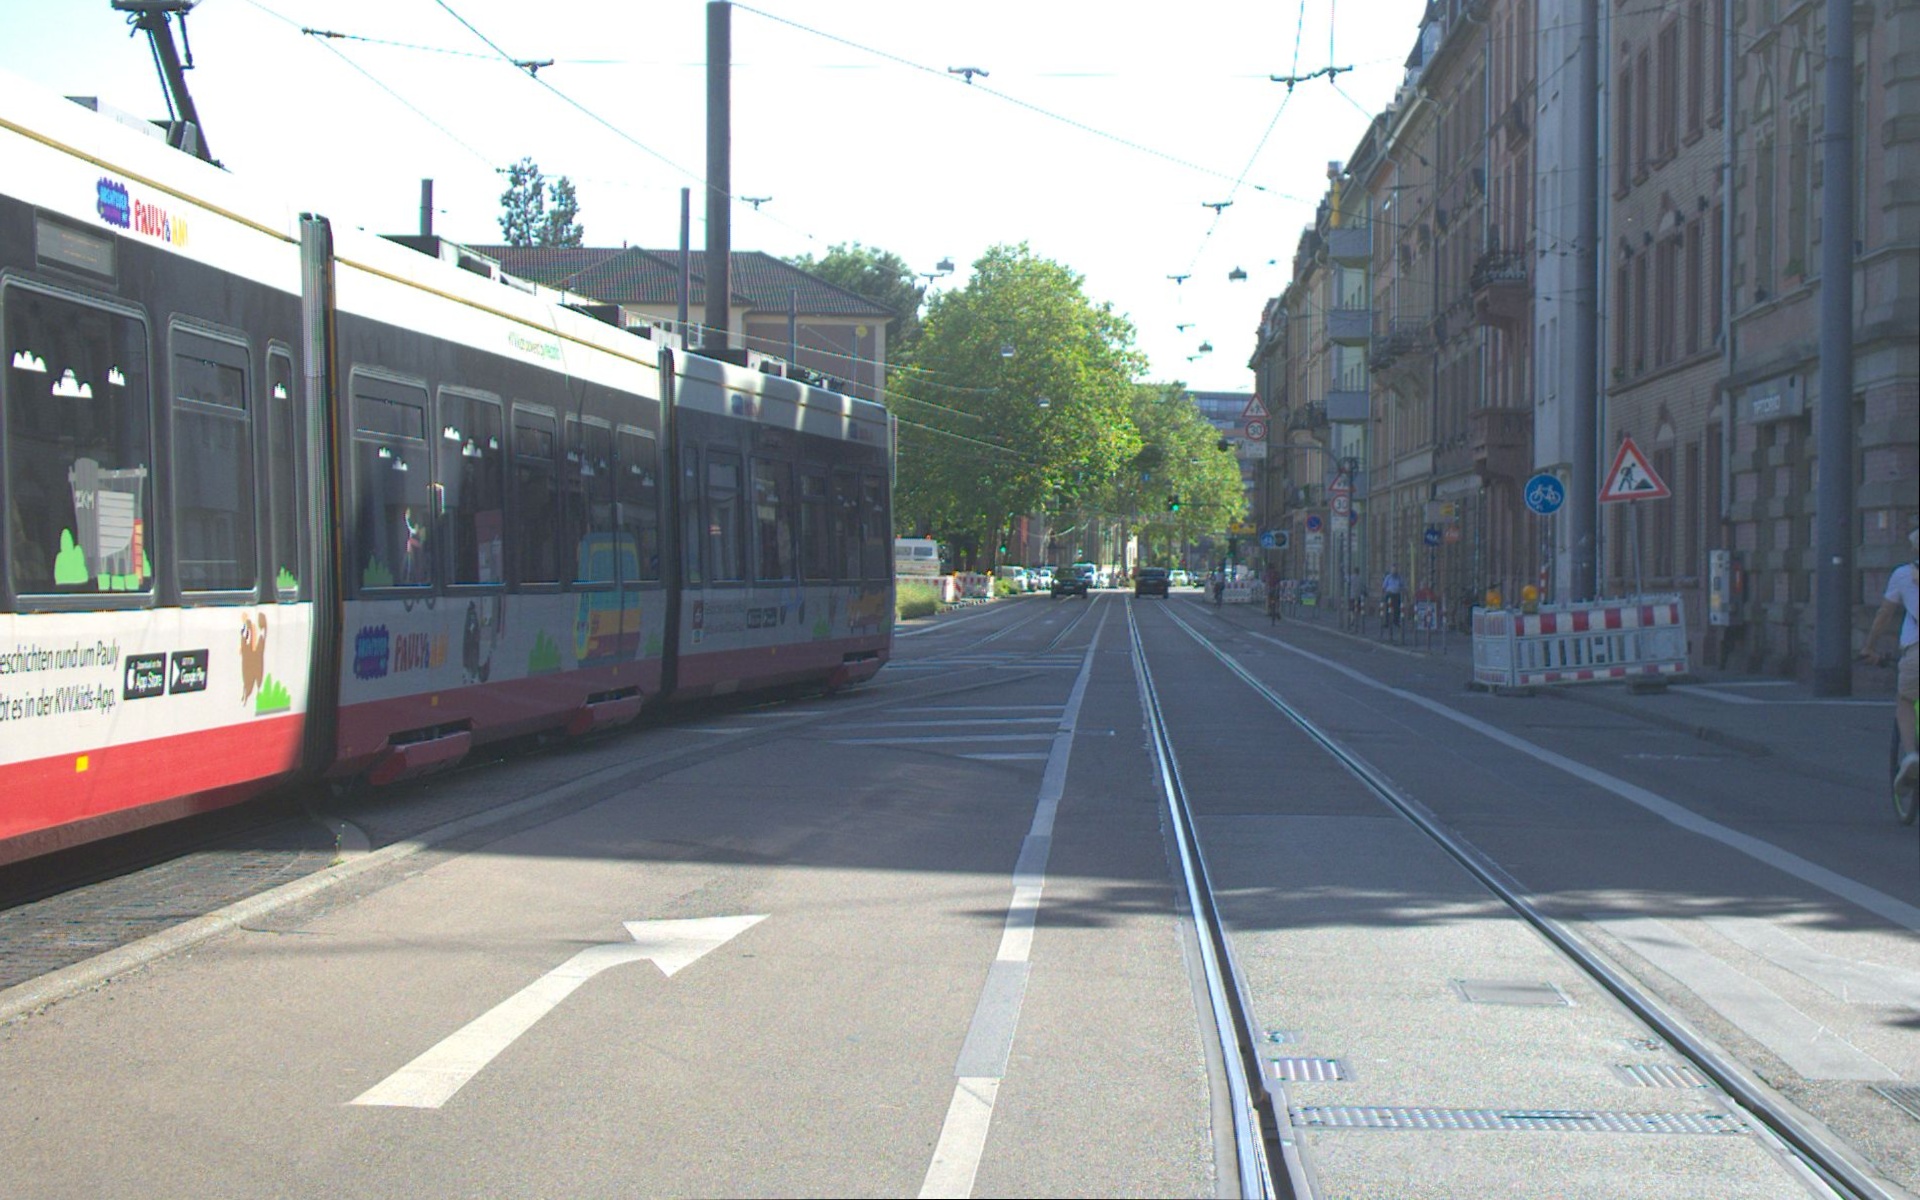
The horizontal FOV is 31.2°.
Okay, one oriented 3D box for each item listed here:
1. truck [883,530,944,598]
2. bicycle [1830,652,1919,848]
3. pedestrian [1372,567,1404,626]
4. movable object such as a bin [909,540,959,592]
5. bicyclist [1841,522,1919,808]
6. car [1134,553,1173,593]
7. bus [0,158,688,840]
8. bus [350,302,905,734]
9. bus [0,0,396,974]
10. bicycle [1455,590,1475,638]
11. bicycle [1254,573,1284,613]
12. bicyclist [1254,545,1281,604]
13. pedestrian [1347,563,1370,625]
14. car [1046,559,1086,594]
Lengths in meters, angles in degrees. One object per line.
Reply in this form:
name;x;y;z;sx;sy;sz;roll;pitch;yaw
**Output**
truck;-2.065;-1.576;152.131;2.538;2.820;6.376;3;0;-1
bicycle;5.838;0.896;20.918;0.531;1.114;1.934;3;0;0
pedestrian;11.635;-0.090;93.506;0.798;1.599;0.652;1;0;5
movable object such as a bin;-1.383;-1.810;183.135;2.495;2.636;5.989;3;0;0
bicyclist;5.851;0.393;20.809;0.681;1.678;1.120;2;0;0
car;10.498;-1.451;186.587;1.994;2.007;3.999;3;0;3
bus;-4.209;-0.603;23.618;2.841;3.577;10.724;1;1;5
bus;-2.910;-0.743;34.543;2.842;3.577;11.267;1;1;8
bus;-4.836;-0.485;11.635;2.841;3.577;13.494;1;1;3
bicycle;11.807;0.329;80.392;0.410;1.117;1.897;-1;0;7
bicycle;9.038;-0.203;100.631;0.681;1.110;2.707;2;0;2
bicyclist;9.031;-0.737;100.905;0.667;1.691;1.043;2;0;2
pedestrian;11.028;-0.165;95.139;0.553;1.695;0.473;-1;0;10
car;5.394;-1.193;174.581;1.759;1.691;4.143;3;0;4
